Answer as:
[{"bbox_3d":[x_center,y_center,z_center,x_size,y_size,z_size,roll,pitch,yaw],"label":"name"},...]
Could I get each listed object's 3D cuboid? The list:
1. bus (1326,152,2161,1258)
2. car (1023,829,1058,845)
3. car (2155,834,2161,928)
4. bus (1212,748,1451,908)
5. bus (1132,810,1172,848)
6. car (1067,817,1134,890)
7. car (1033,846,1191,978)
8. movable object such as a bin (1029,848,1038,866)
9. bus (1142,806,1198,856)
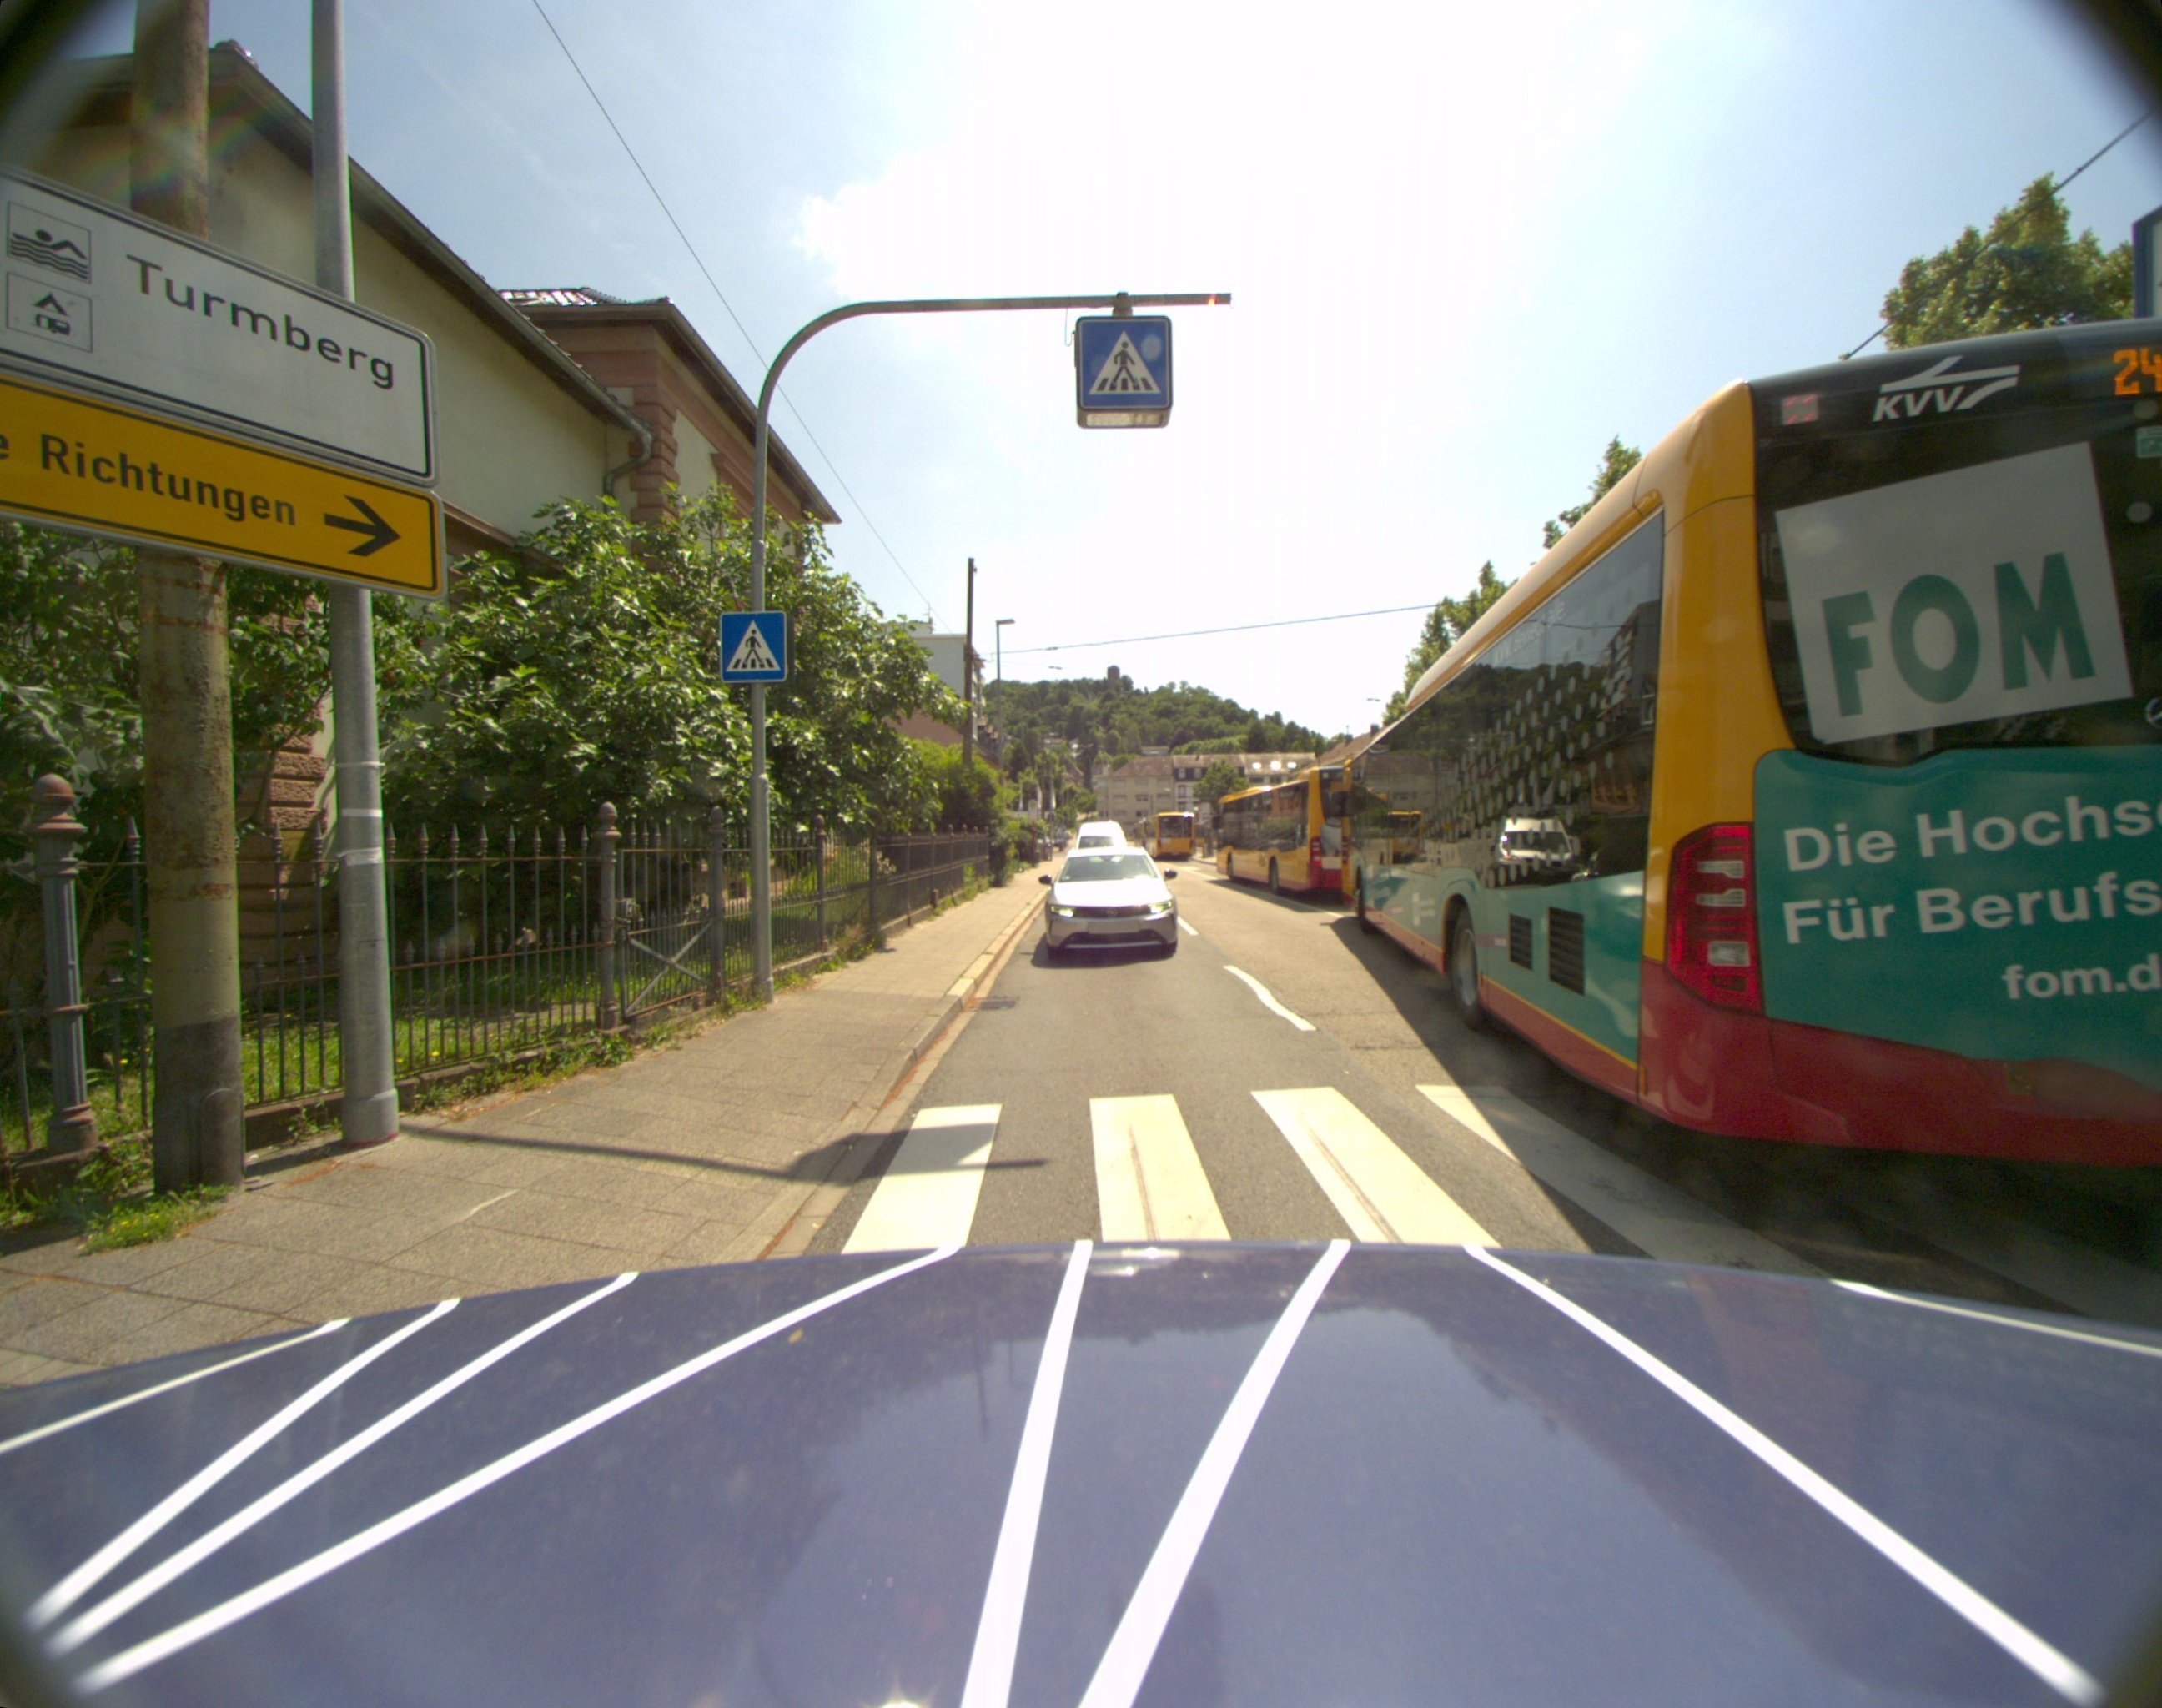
[{"bbox_3d":[4.735,-0.558,8.151,2.784,3.190,12.315,-2,1,13],"label":"bus"},{"bbox_3d":[-5.100,-2.150,96.152,4.277,1.780,1.826,0,4,40],"label":"car"},{"bbox_3d":[19.549,0.526,11.172,1.755,1.609,3.997,-3,3,-3],"label":"car"},{"bbox_3d":[6.286,-0.759,21.957,2.914,3.230,12.113,-3,2,1],"label":"bus"},{"bbox_3d":[6.973,-2.418,76.565,2.915,3.407,12.037,-3,1,1],"label":"bus"},{"bbox_3d":[0.593,-0.141,27.364,1.999,2.259,5.440,-3,3,-2],"label":"car"},{"bbox_3d":[0.459,0.665,11.085,1.818,1.372,4.391,-1,3,3],"label":"car"},{"bbox_3d":[-2.561,0.135,40.731,0.407,0.902,0.729,3,3,-2],"label":"movable object such as a bin"},{"bbox_3d":[6.488,-1.891,57.196,2.905,3.230,12.190,-3,3,1],"label":"bus"}]
